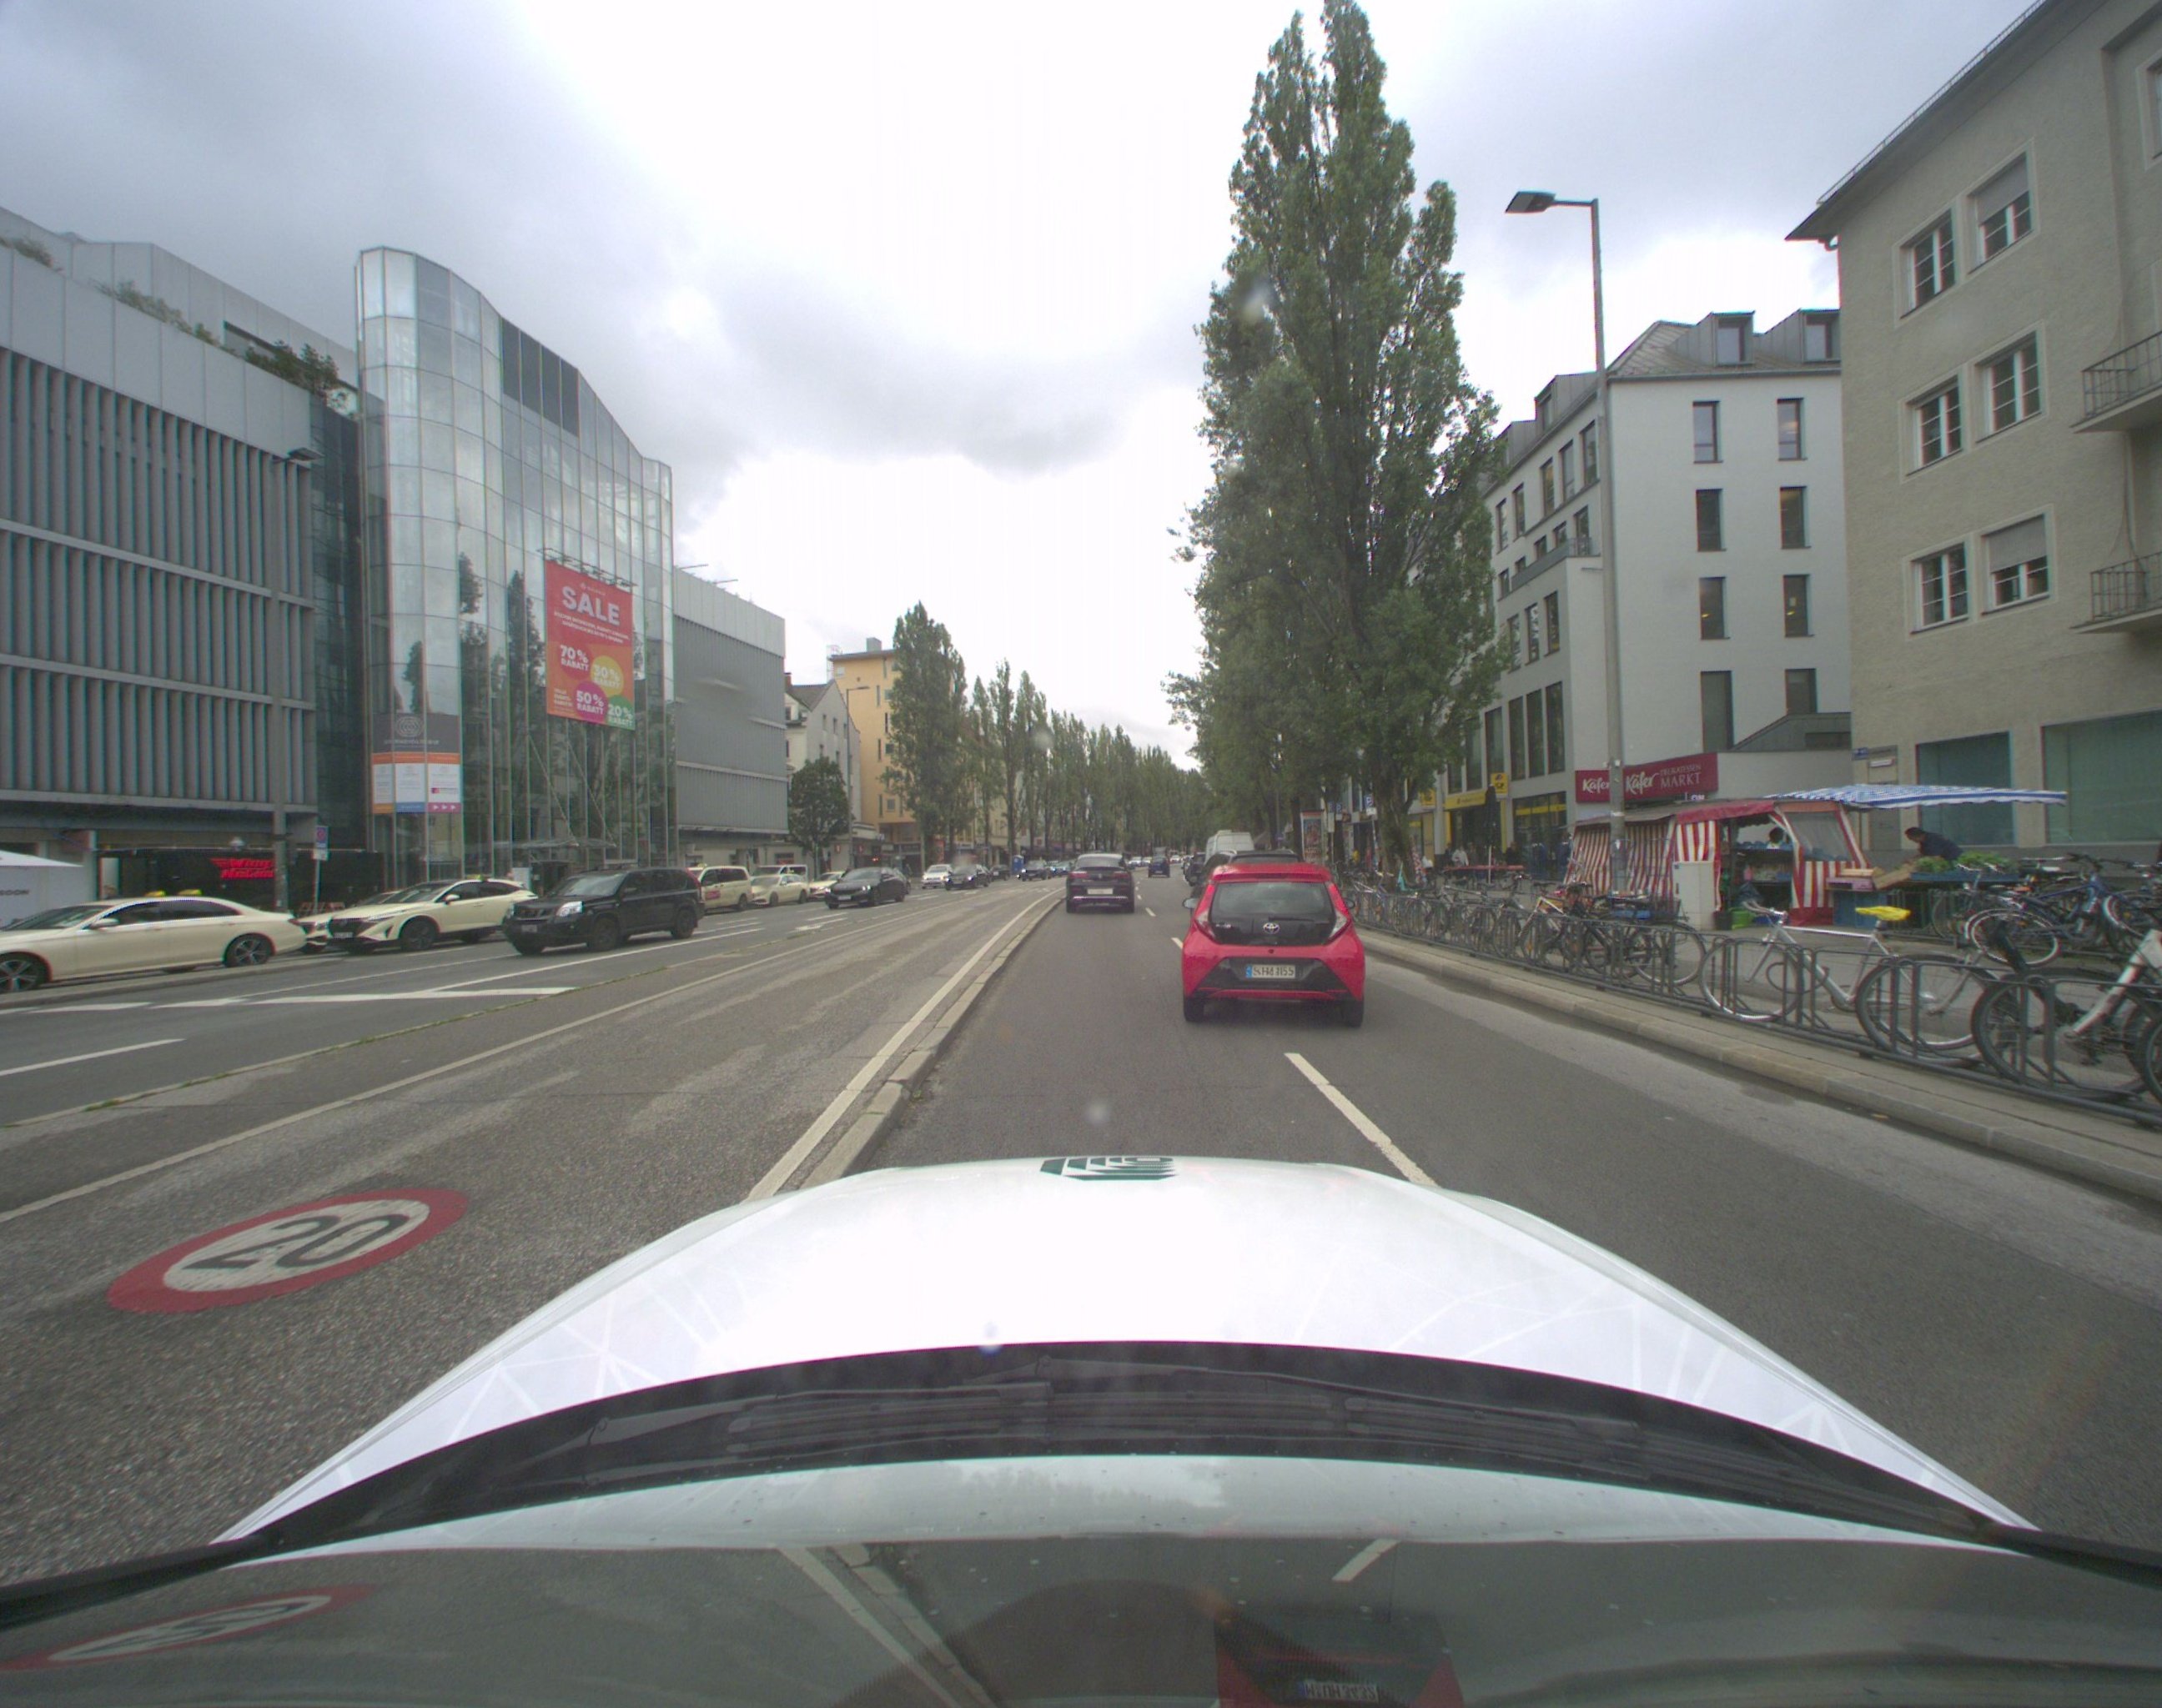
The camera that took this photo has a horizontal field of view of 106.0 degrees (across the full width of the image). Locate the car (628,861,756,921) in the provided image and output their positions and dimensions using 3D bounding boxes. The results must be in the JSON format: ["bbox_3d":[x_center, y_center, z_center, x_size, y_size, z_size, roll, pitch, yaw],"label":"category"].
[{"bbox_3d":[-14.770,1.330,31.378,1.985,2.013,5.327,-3,-1,4],"label":"car"}]

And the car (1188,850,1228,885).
[{"bbox_3d":[6.833,0.720,44.178,1.919,1.805,4.787,-1,0,6],"label":"car"}]

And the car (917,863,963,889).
[{"bbox_3d":[-9.302,1.422,54.068,1.984,1.600,4.295,-2,0,4],"label":"car"}]

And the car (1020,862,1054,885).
[{"bbox_3d":[-3.474,1.519,65.027,1.984,1.621,4.418,-3,-1,4],"label":"car"}]

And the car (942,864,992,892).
[{"bbox_3d":[-6.680,1.382,48.223,1.827,1.487,4.741,-2,0,5],"label":"car"}]

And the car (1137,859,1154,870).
[{"bbox_3d":[10.274,1.632,129.558,1.980,1.589,5.212,-4,-1,11],"label":"car"}]

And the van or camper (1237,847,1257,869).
[{"bbox_3d":[24.123,0.574,118.483,2.442,3.112,4.734,-3,-1,15],"label":"van or camper"}]

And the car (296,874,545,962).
[{"bbox_3d":[-15.662,1.446,19.688,1.873,1.698,4.397,-3,-1,12],"label":"car"}]

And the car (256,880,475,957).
[{"bbox_3d":[-18.210,1.573,21.010,1.761,1.616,4.009,-2,-1,8],"label":"car"}]

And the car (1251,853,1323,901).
[{"bbox_3d":[6.693,0.714,26.828,1.717,1.454,4.153,0,0,5],"label":"car"}]

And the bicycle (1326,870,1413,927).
[{"bbox_3d":[5.898,0.887,16.692,1.556,1.054,0.550,2,1,39],"label":"bicycle"}]

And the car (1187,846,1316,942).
[{"bbox_3d":[3.211,0.700,16.133,1.755,1.614,4.184,-1,0,1],"label":"car"}]

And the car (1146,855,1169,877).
[{"bbox_3d":[5.987,0.931,63.472,1.750,1.619,3.753,-1,-1,6],"label":"car"}]

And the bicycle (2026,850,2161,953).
[{"bbox_3d":[12.066,0.539,9.437,1.622,1.103,0.410,-3,-1,2],"label":"bicycle"}]

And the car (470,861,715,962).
[{"bbox_3d":[-10.088,1.087,17.368,1.983,1.777,4.608,-2,0,7],"label":"car"}]

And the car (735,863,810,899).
[{"bbox_3d":[-19.324,1.673,51.348,1.981,2.013,5.126,-2,0,10],"label":"car"}]

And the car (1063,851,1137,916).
[{"bbox_3d":[0.575,0.777,23.490,1.873,1.642,4.585,-2,0,2],"label":"car"}]

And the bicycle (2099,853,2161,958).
[{"bbox_3d":[12.250,0.526,8.825,1.619,1.103,0.411,-3,-1,9],"label":"bicycle"}]

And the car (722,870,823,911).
[{"bbox_3d":[-13.954,1.615,37.215,1.965,1.552,5.100,-2,0,10],"label":"car"}]

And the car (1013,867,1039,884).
[{"bbox_3d":[-5.344,2.058,79.437,1.774,1.466,4.007,-3,0,6],"label":"car"}]

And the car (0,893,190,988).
[{"bbox_3d":[-19.785,1.620,15.136,1.742,1.536,4.010,-2,0,9],"label":"car"}]

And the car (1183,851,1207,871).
[{"bbox_3d":[10.143,0.657,72.354,1.913,1.700,4.662,-1,-1,10],"label":"car"}]

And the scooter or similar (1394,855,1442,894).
[{"bbox_3d":[10.875,0.653,26.302,1.468,1.207,0.398,-2,-1,-17],"label":"scooter or similar"}]

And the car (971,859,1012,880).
[{"bbox_3d":[-7.834,1.365,71.667,1.740,1.816,4.023,-1,-1,26],"label":"car"}]

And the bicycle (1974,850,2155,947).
[{"bbox_3d":[12.192,0.549,10.121,1.622,1.103,0.410,-3,-1,2],"label":"bicycle"}]

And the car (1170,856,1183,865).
[{"bbox_3d":[19.023,1.240,162.530,1.847,1.711,4.553,-3,-1,14],"label":"car"}]

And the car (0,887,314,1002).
[{"bbox_3d":[-16.837,1.475,14.145,1.933,1.541,4.862,-2,0,11],"label":"car"}]

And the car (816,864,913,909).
[{"bbox_3d":[-8.483,1.242,32.413,1.983,1.508,5.030,-2,0,6],"label":"car"}]

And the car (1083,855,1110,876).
[{"bbox_3d":[2.062,1.418,106.327,2.155,2.605,6.085,-2,-1,13],"label":"car"}]

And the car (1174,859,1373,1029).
[{"bbox_3d":[1.844,0.798,8.781,1.656,1.446,3.602,-1,-1,6],"label":"car"}]

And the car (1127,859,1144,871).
[{"bbox_3d":[8.098,1.653,120.563,1.896,1.603,4.370,-2,0,13],"label":"car"}]

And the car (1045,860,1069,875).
[{"bbox_3d":[-2.576,1.438,87.916,1.942,1.589,4.009,-2,0,8],"label":"car"}]

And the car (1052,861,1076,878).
[{"bbox_3d":[-1.625,1.494,79.618,1.809,1.545,4.005,-4,-1,4],"label":"car"}]

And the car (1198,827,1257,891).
[{"bbox_3d":[6.692,0.248,37.764,1.985,2.742,5.558,0,-1,3],"label":"car"}]

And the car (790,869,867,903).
[{"bbox_3d":[-13.058,1.627,42.500,1.847,1.469,4.992,-4,-1,7],"label":"car"}]

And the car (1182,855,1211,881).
[{"bbox_3d":[7.918,0.941,55.914,1.719,1.686,4.414,-1,0,5],"label":"car"}]

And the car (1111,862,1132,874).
[{"bbox_3d":[5.314,1.818,107.068,1.786,1.394,4.708,-2,0,14],"label":"car"}]

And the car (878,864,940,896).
[{"bbox_3d":[-9.708,1.441,46.439,1.949,1.546,4.956,-3,0,6],"label":"car"}]

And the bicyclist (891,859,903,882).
[{"bbox_3d":[-13.495,1.207,59.851,0.498,1.592,0.838,-2,-1,14],"label":"bicyclist"}]
